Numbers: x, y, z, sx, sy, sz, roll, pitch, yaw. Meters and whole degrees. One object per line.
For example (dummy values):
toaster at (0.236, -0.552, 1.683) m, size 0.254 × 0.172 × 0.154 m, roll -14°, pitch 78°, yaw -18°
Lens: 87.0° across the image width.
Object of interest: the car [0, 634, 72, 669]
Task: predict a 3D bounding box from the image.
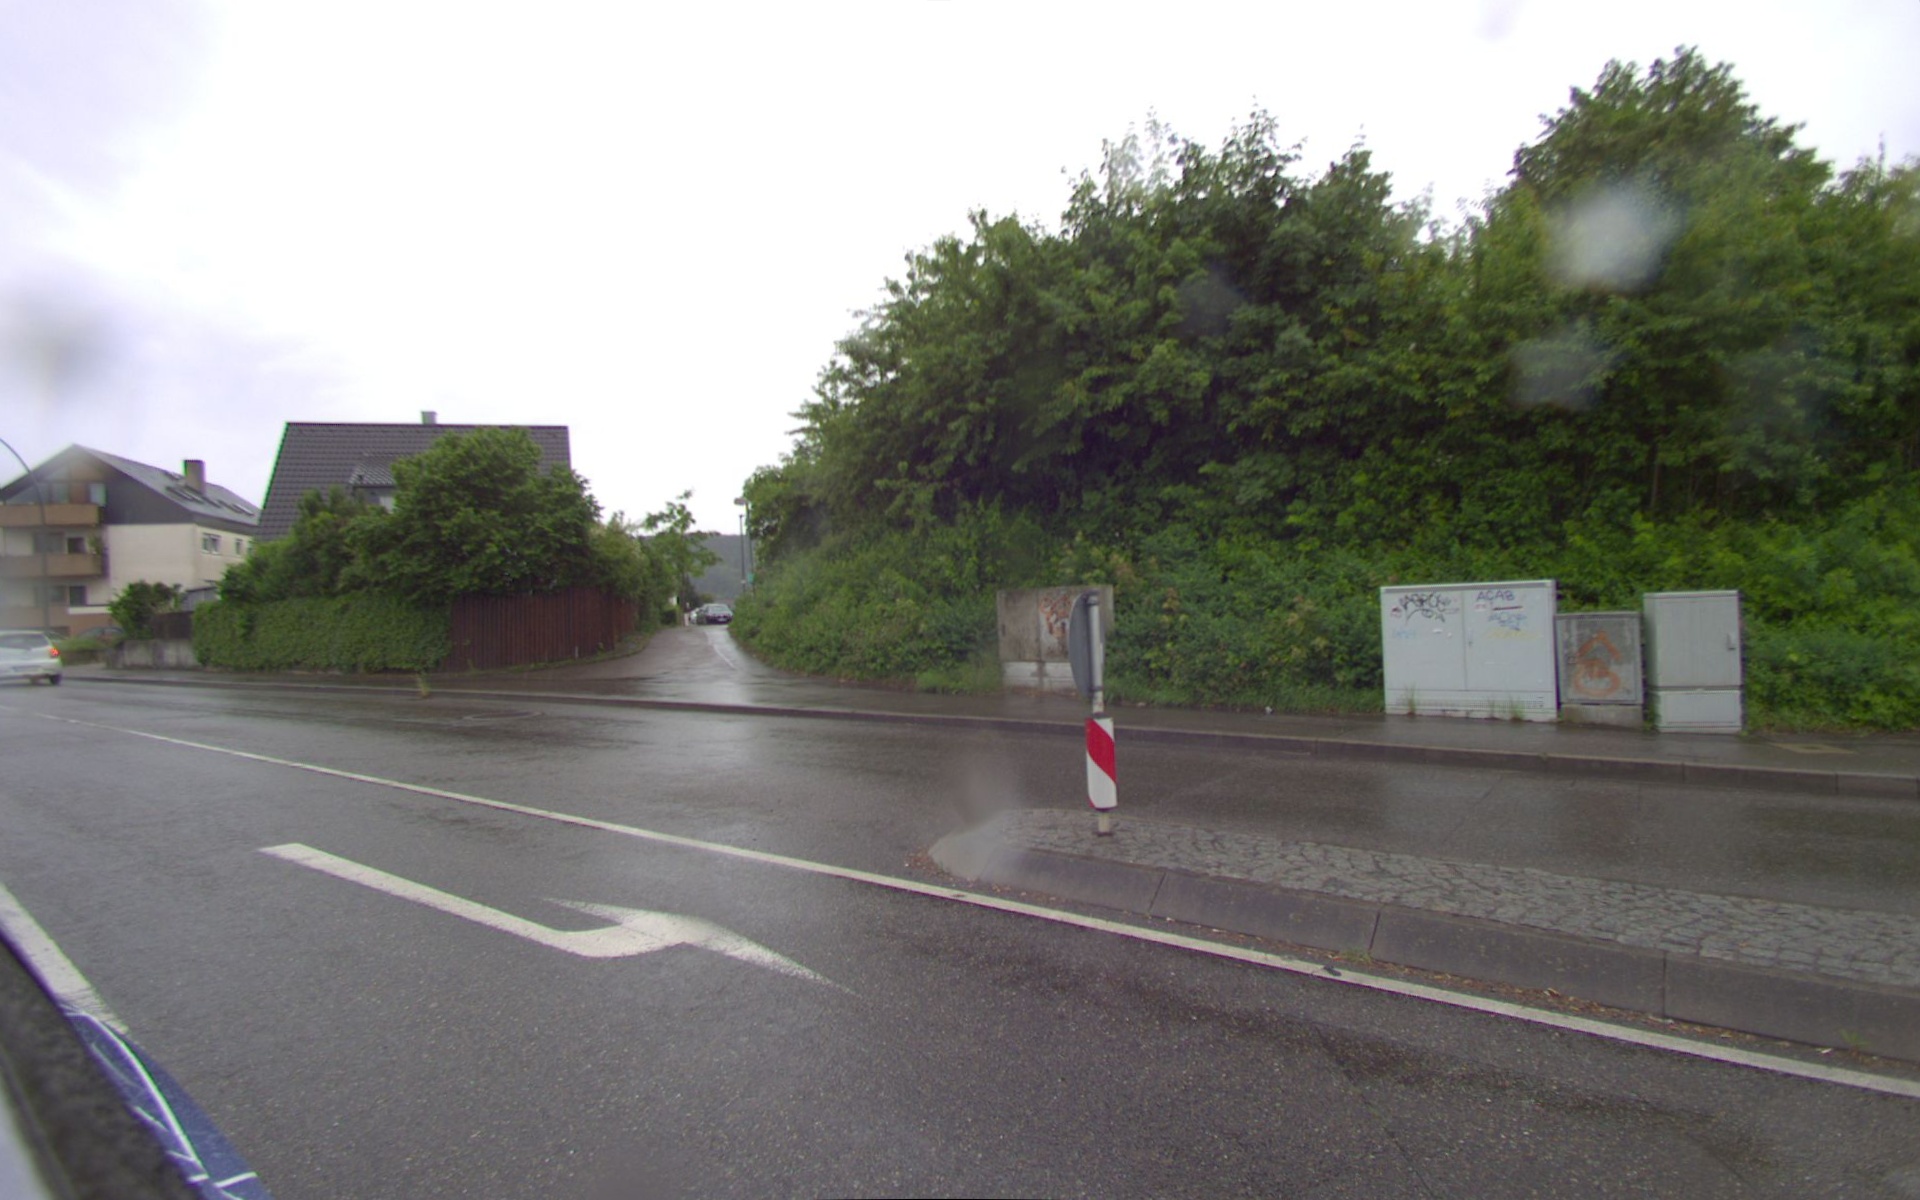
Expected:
car at (-46.697, 2.544, 50.765) m, size 1.638 × 1.558 × 4.011 m, roll -1°, pitch 0°, yaw -15°

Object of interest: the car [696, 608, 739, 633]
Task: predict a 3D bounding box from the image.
car at (-15.839, 1.354, 65.892) m, size 1.867 × 1.494 × 4.013 m, roll -1°, pitch -1°, yaw -26°

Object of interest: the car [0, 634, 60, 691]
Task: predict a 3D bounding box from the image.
car at (-27.105, 1.734, 28.640) m, size 3.813 × 1.516 × 1.606 m, roll -2°, pitch -2°, yaw 35°

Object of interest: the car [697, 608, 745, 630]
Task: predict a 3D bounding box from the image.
car at (-17.437, 1.351, 73.630) m, size 1.967 × 1.497 × 4.009 m, roll -1°, pitch 0°, yaw -37°
